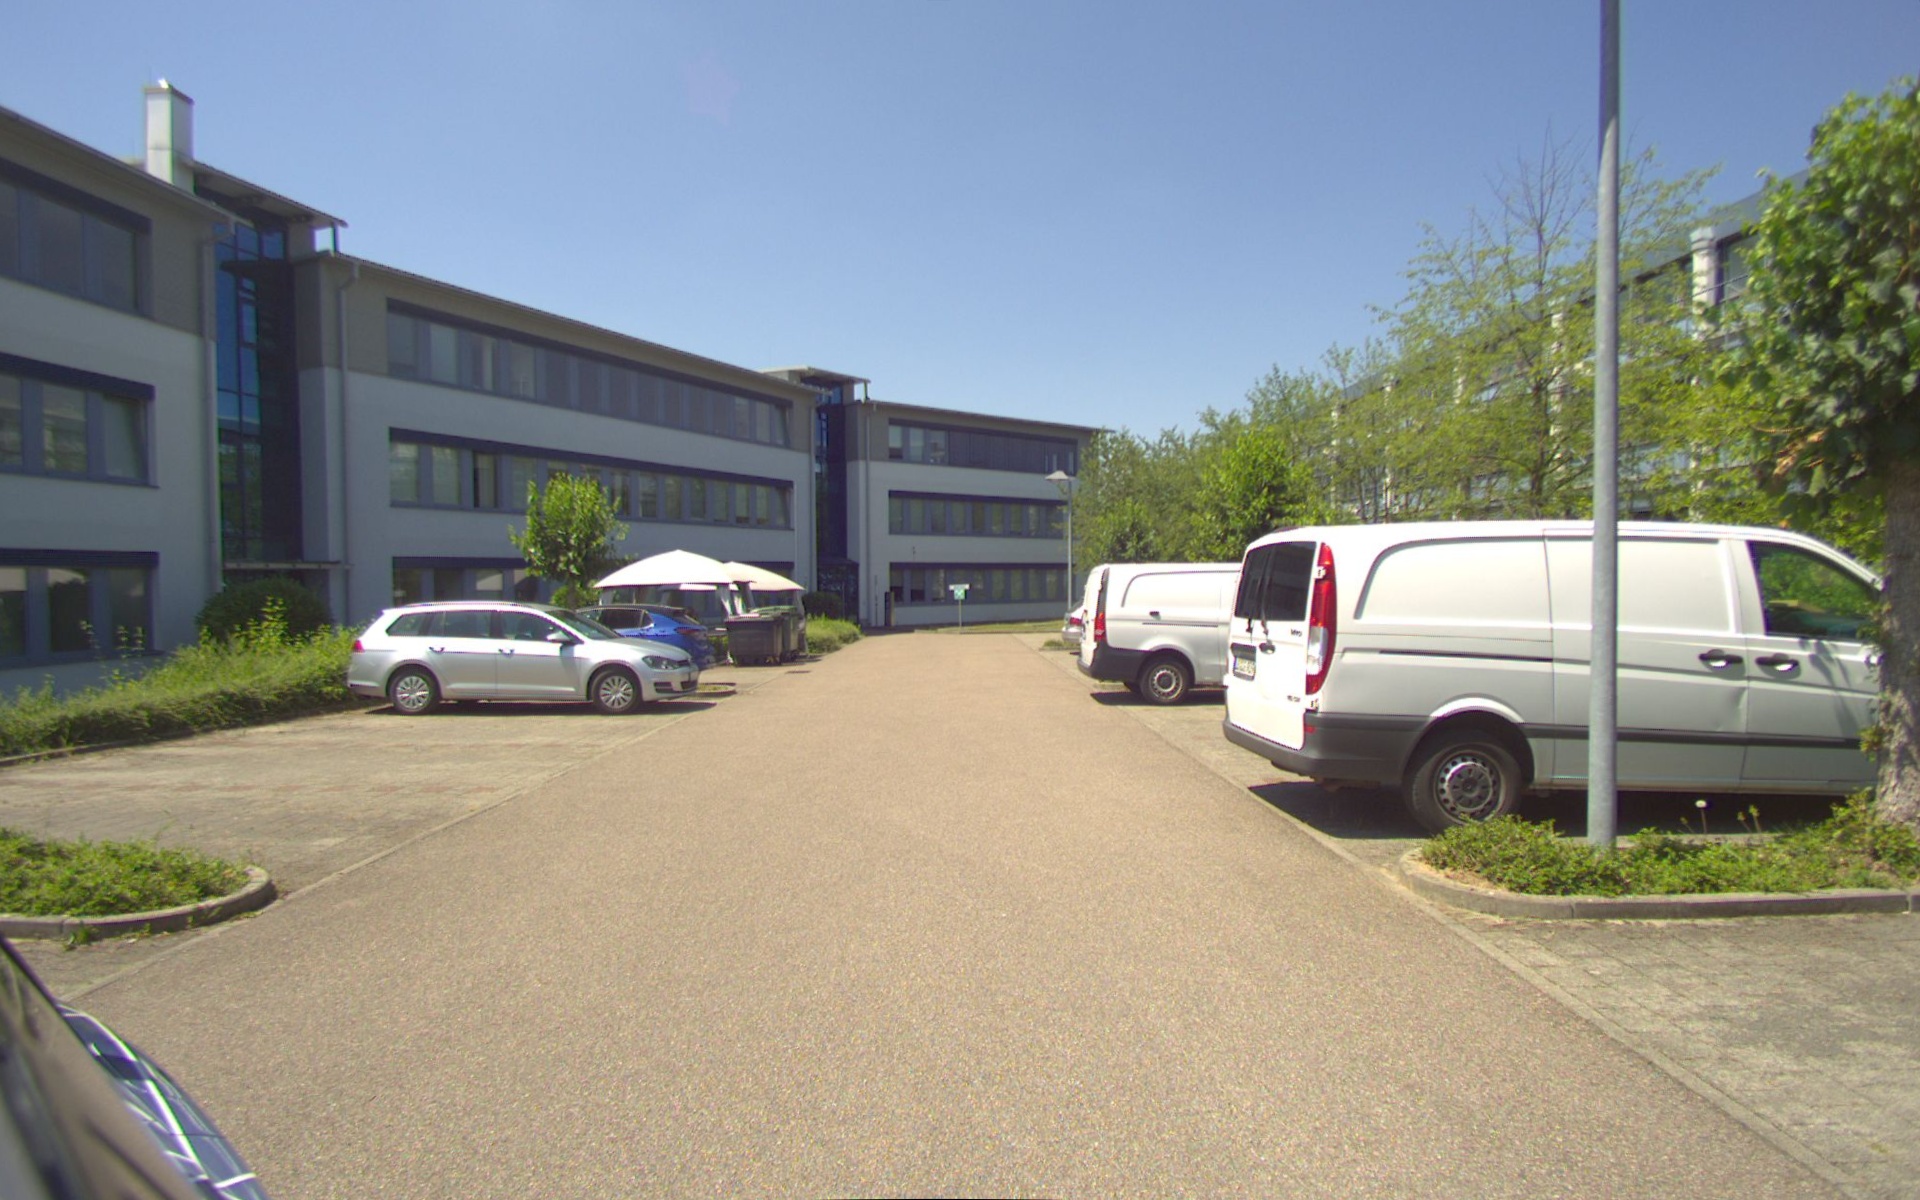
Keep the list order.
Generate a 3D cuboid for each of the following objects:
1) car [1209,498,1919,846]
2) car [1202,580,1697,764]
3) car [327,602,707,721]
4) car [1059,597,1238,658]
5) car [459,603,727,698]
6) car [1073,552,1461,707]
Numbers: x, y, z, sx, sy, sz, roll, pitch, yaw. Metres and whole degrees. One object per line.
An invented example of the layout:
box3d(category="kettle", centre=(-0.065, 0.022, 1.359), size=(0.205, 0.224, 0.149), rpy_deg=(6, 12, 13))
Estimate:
box3d(category="car", centre=(4.291, 0.397, 6.714), size=(4.738, 1.919, 1.920), rpy_deg=(-1, 0, -1))
box3d(category="car", centre=(4.555, 0.603, 9.691), size=(3.935, 1.487, 1.764), rpy_deg=(-1, 0, -10))
box3d(category="car", centre=(-5.908, 0.791, 13.891), size=(4.420, 1.483, 1.863), rpy_deg=(0, 0, -1))
box3d(category="car", centre=(4.595, 0.656, 25.121), size=(4.114, 1.417, 1.872), rpy_deg=(0, 0, 3))
box3d(category="car", centre=(-6.302, 0.839, 17.711), size=(3.947, 1.473, 1.999), rpy_deg=(-1, 0, 3))
box3d(category="car", centre=(4.059, 0.394, 14.010), size=(4.737, 1.905, 1.887), rpy_deg=(-1, -1, 1))
